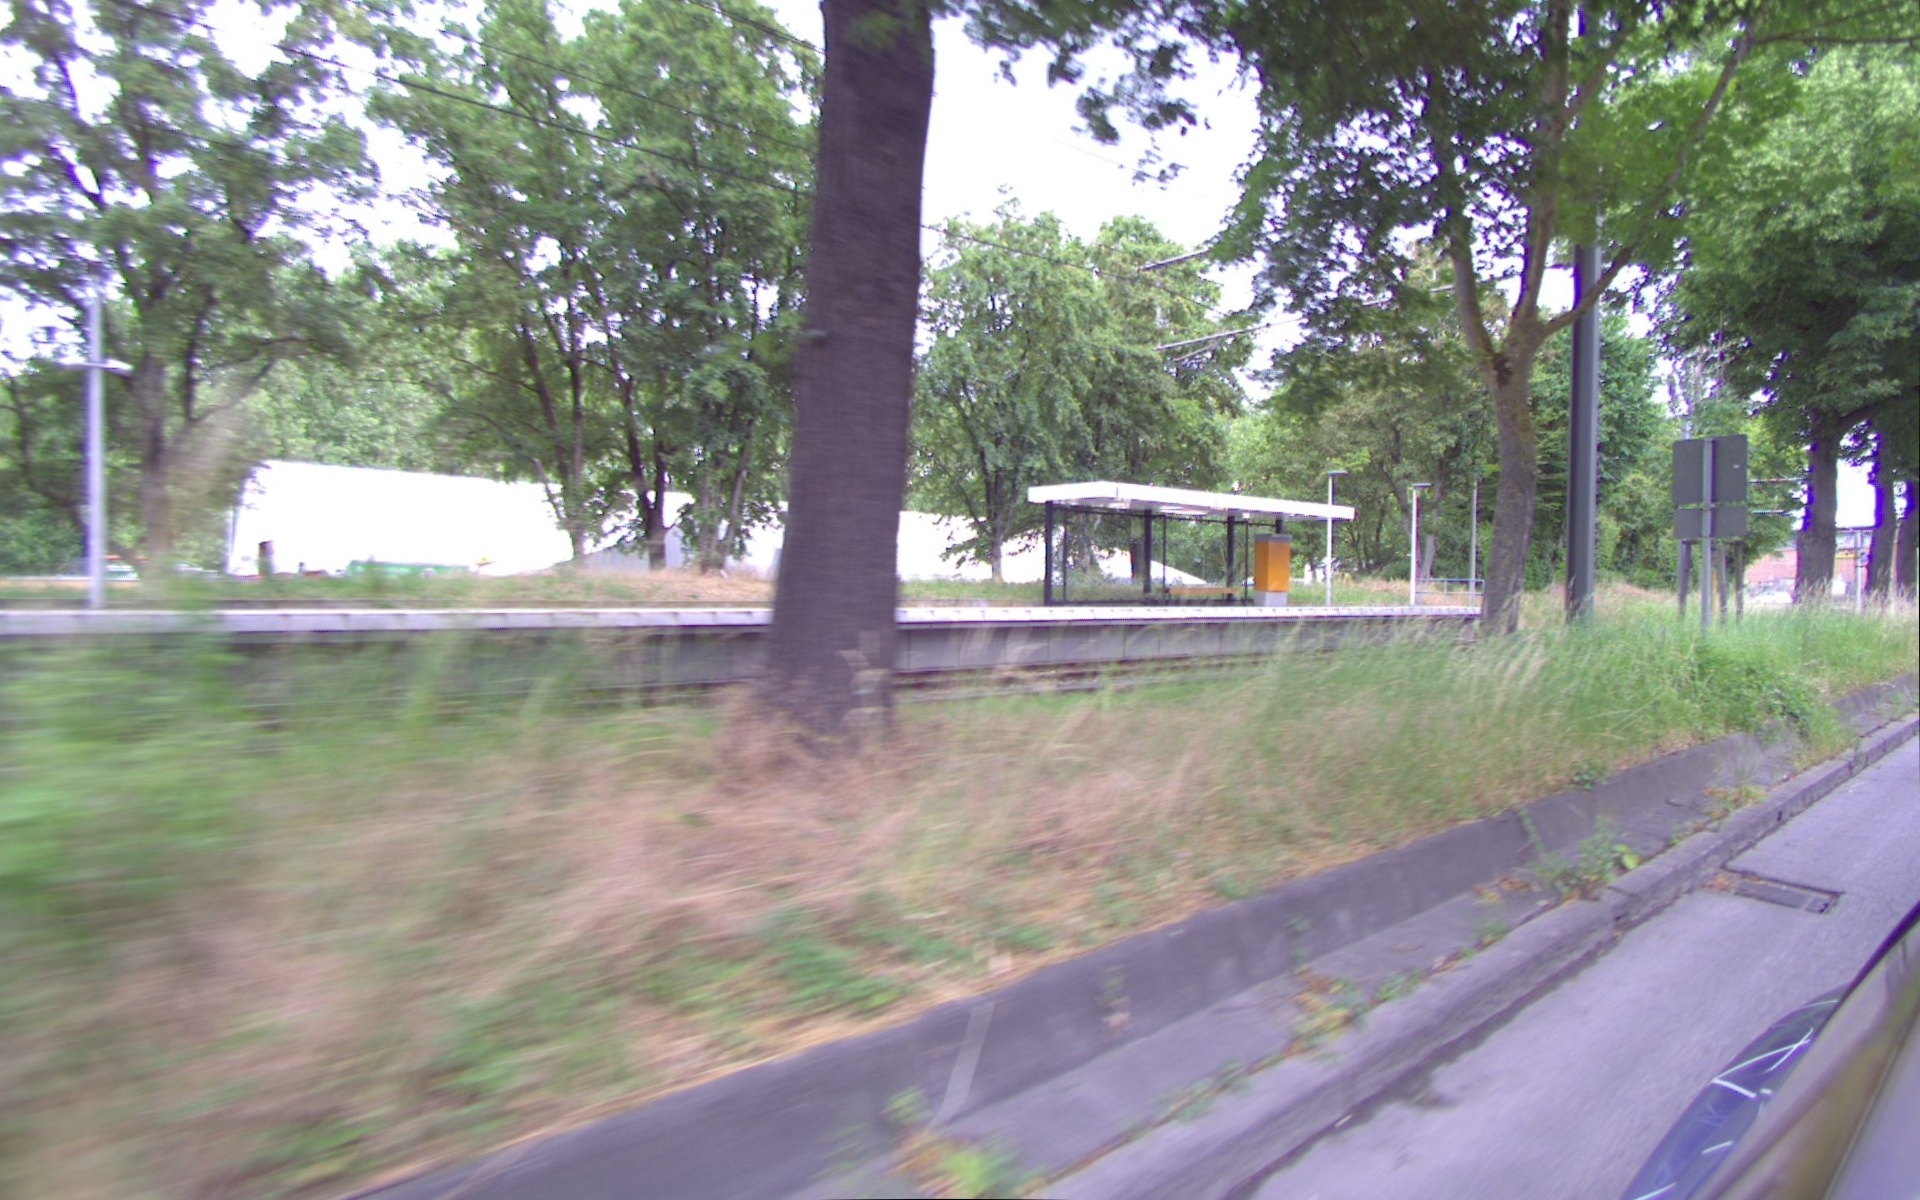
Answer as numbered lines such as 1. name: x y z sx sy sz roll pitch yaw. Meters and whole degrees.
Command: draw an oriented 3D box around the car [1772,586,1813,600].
1. car: 93.663 -0.825 113.910 1.557 1.484 3.694 1 1 3
